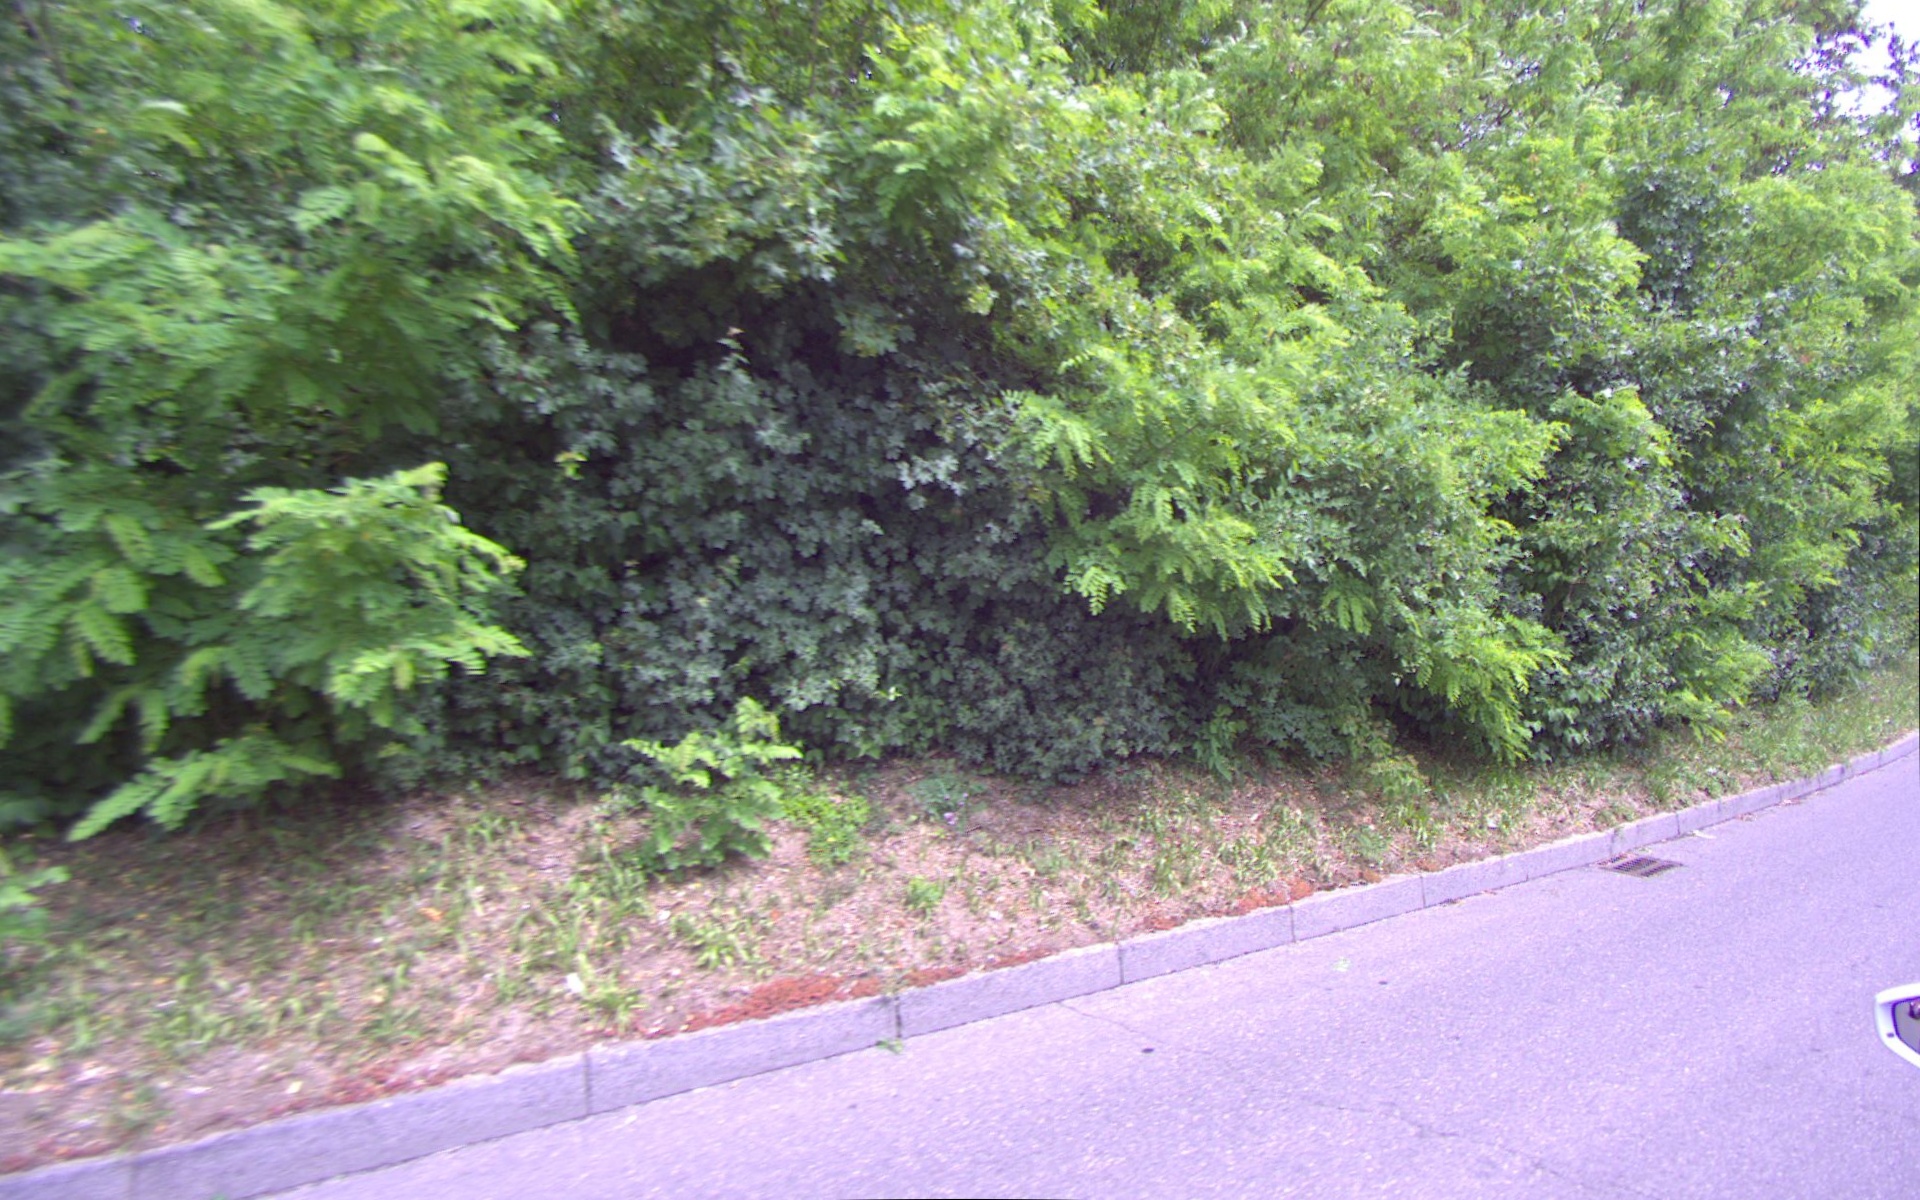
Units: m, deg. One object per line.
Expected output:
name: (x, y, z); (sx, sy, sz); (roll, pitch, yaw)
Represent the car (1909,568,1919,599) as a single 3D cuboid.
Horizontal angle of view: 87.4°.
car: (44.654, -0.636, 44.908); (1.856, 1.395, 4.347); (2, 4, 24)
